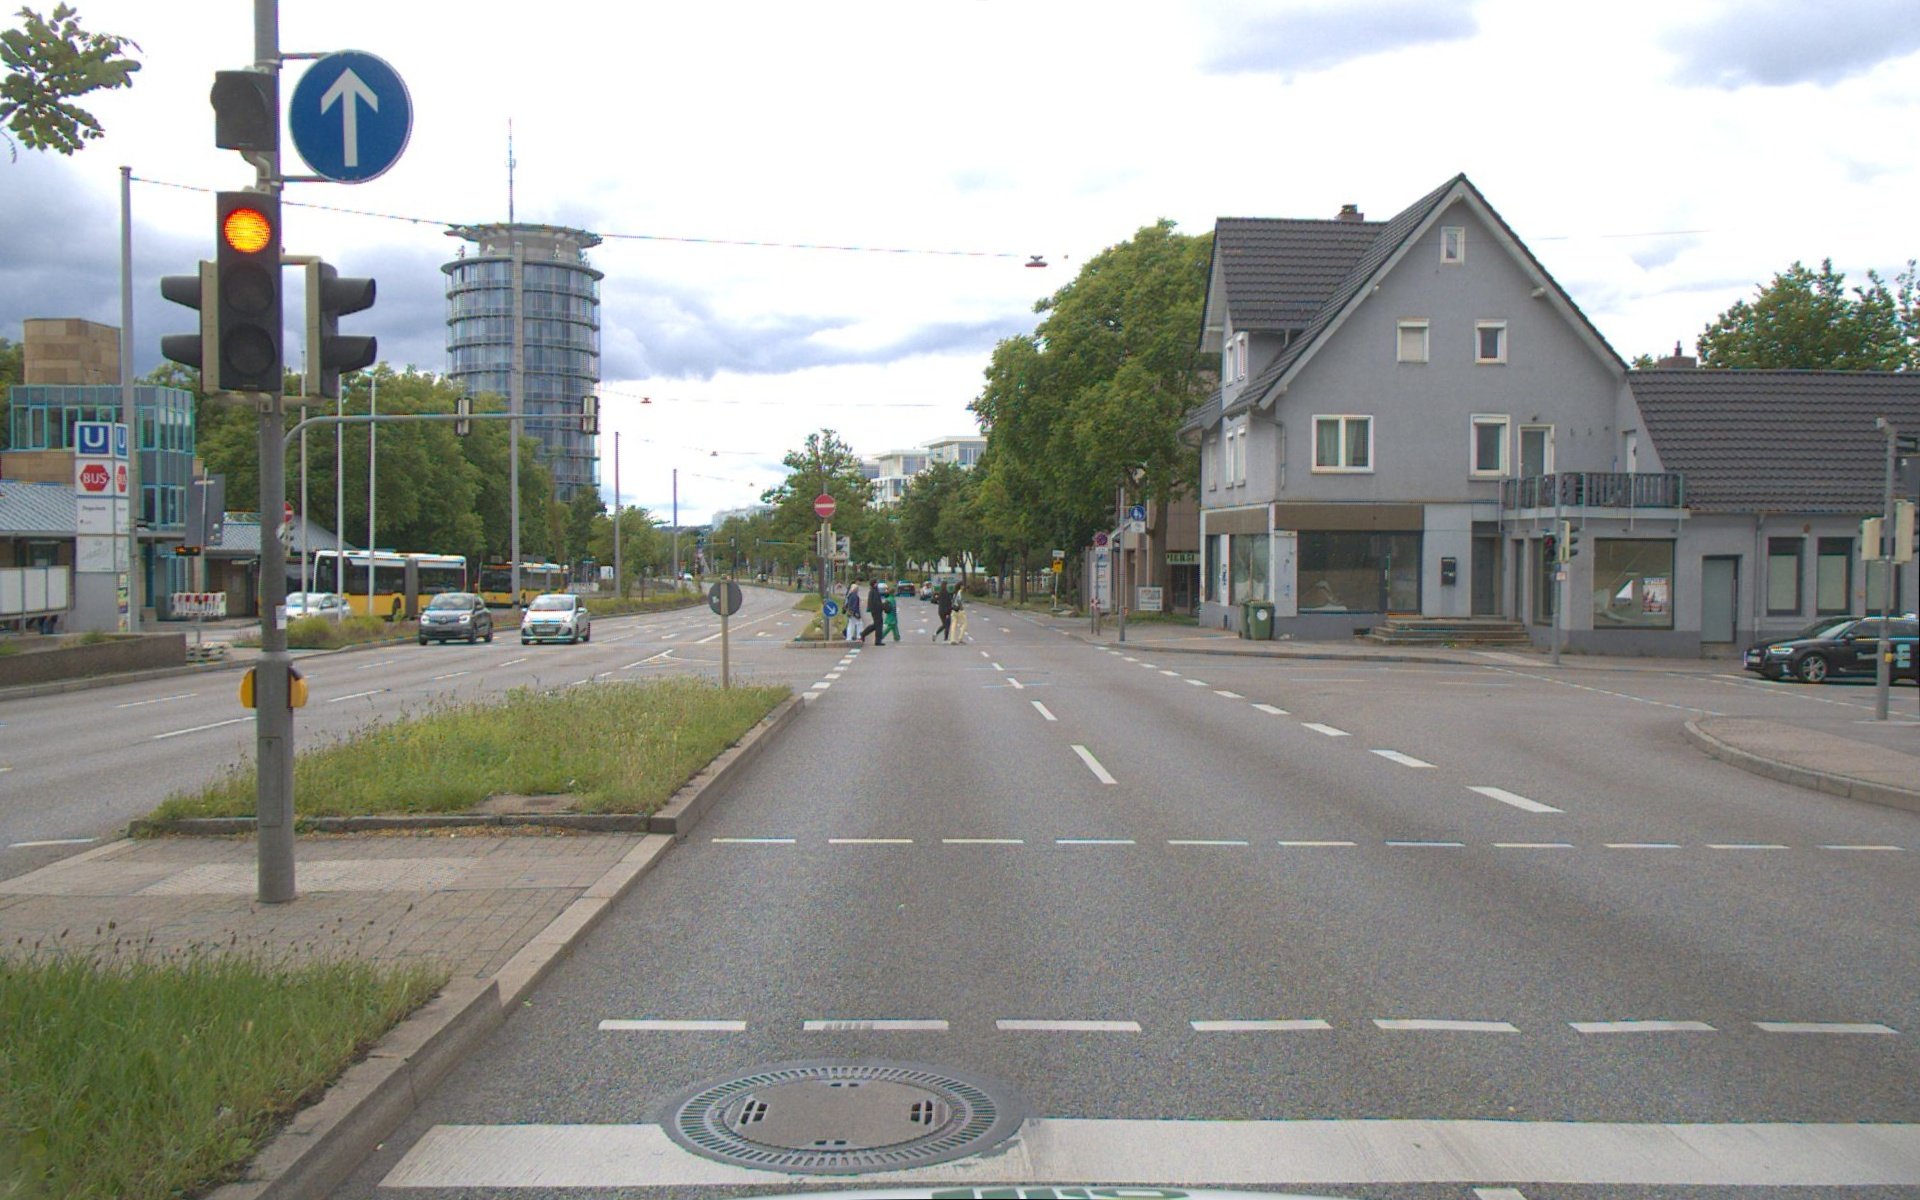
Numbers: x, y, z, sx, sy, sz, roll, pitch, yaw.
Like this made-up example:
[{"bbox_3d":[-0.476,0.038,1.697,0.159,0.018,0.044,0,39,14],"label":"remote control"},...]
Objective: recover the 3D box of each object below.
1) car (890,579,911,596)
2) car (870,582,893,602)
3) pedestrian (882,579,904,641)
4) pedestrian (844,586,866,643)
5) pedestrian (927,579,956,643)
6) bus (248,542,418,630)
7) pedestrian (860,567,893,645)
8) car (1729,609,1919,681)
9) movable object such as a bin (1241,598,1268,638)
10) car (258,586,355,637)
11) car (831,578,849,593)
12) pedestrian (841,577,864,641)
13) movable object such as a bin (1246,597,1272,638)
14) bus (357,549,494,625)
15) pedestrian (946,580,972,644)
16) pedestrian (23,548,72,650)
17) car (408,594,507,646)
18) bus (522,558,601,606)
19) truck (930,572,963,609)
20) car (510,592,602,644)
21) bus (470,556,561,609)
[{"bbox_3d":[-5.805,-1.234,160.706,1.953,1.579,3.999,1,0,-1],"label":"car"},{"bbox_3d":[-7.412,-0.766,156.324,1.953,1.862,3.999,1,0,-1],"label":"car"},{"bbox_3d":[-1.894,0.274,46.919,0.572,1.746,0.545,0,0,-8],"label":"pedestrian"},{"bbox_3d":[-2.838,0.380,44.661,0.533,1.522,0.486,0,0,-8],"label":"pedestrian"},{"bbox_3d":[-0.520,0.304,45.640,0.731,1.746,0.582,0,0,-8],"label":"pedestrian"},{"bbox_3d":[-27.007,-0.579,71.939,2.772,3.490,10.737,0,0,3],"label":"bus"},{"bbox_3d":[-2.216,0.152,43.899,0.814,2.049,0.545,0,0,-8],"label":"pedestrian"},{"bbox_3d":[18.869,0.956,35.365,4.006,1.395,1.799,2,0,-2],"label":"car"},{"bbox_3d":[7.929,0.488,44.579,0.603,1.061,0.589,1,0,1],"label":"movable object such as a bin"},{"bbox_3d":[-22.784,0.380,57.820,1.769,1.691,4.000,0,0,0],"label":"car"},{"bbox_3d":[-12.763,-1.585,175.943,1.954,1.545,3.996,0,1,-5],"label":"car"},{"bbox_3d":[-2.957,0.245,45.429,0.601,1.746,0.545,0,0,-8],"label":"pedestrian"},{"bbox_3d":[7.959,0.456,44.034,0.592,1.078,0.589,1,0,1],"label":"movable object such as a bin"},{"bbox_3d":[-26.456,-0.631,82.536,2.772,3.490,10.737,0,0,3],"label":"bus"},{"bbox_3d":[-0.021,0.323,45.153,0.641,1.746,0.451,0,0,-8],"label":"pedestrian"},{"bbox_3d":[-18.661,-0.026,33.830,0.668,2.049,0.645,0,0,-5],"label":"pedestrian"},{"bbox_3d":[-15.453,0.592,51.075,1.953,1.512,3.998,-1,0,-2],"label":"car"},{"bbox_3d":[-29.823,-1.320,124.384,2.772,3.490,10.737,0,0,3],"label":"bus"},{"bbox_3d":[-1.063,-0.757,126.494,2.420,2.657,6.547,1,1,-1],"label":"truck"},{"bbox_3d":[-12.344,0.532,50.743,1.953,1.512,3.998,-1,0,-2],"label":"car"},{"bbox_3d":[-30.387,-1.176,113.635,2.772,3.490,10.737,0,0,3],"label":"bus"}]
